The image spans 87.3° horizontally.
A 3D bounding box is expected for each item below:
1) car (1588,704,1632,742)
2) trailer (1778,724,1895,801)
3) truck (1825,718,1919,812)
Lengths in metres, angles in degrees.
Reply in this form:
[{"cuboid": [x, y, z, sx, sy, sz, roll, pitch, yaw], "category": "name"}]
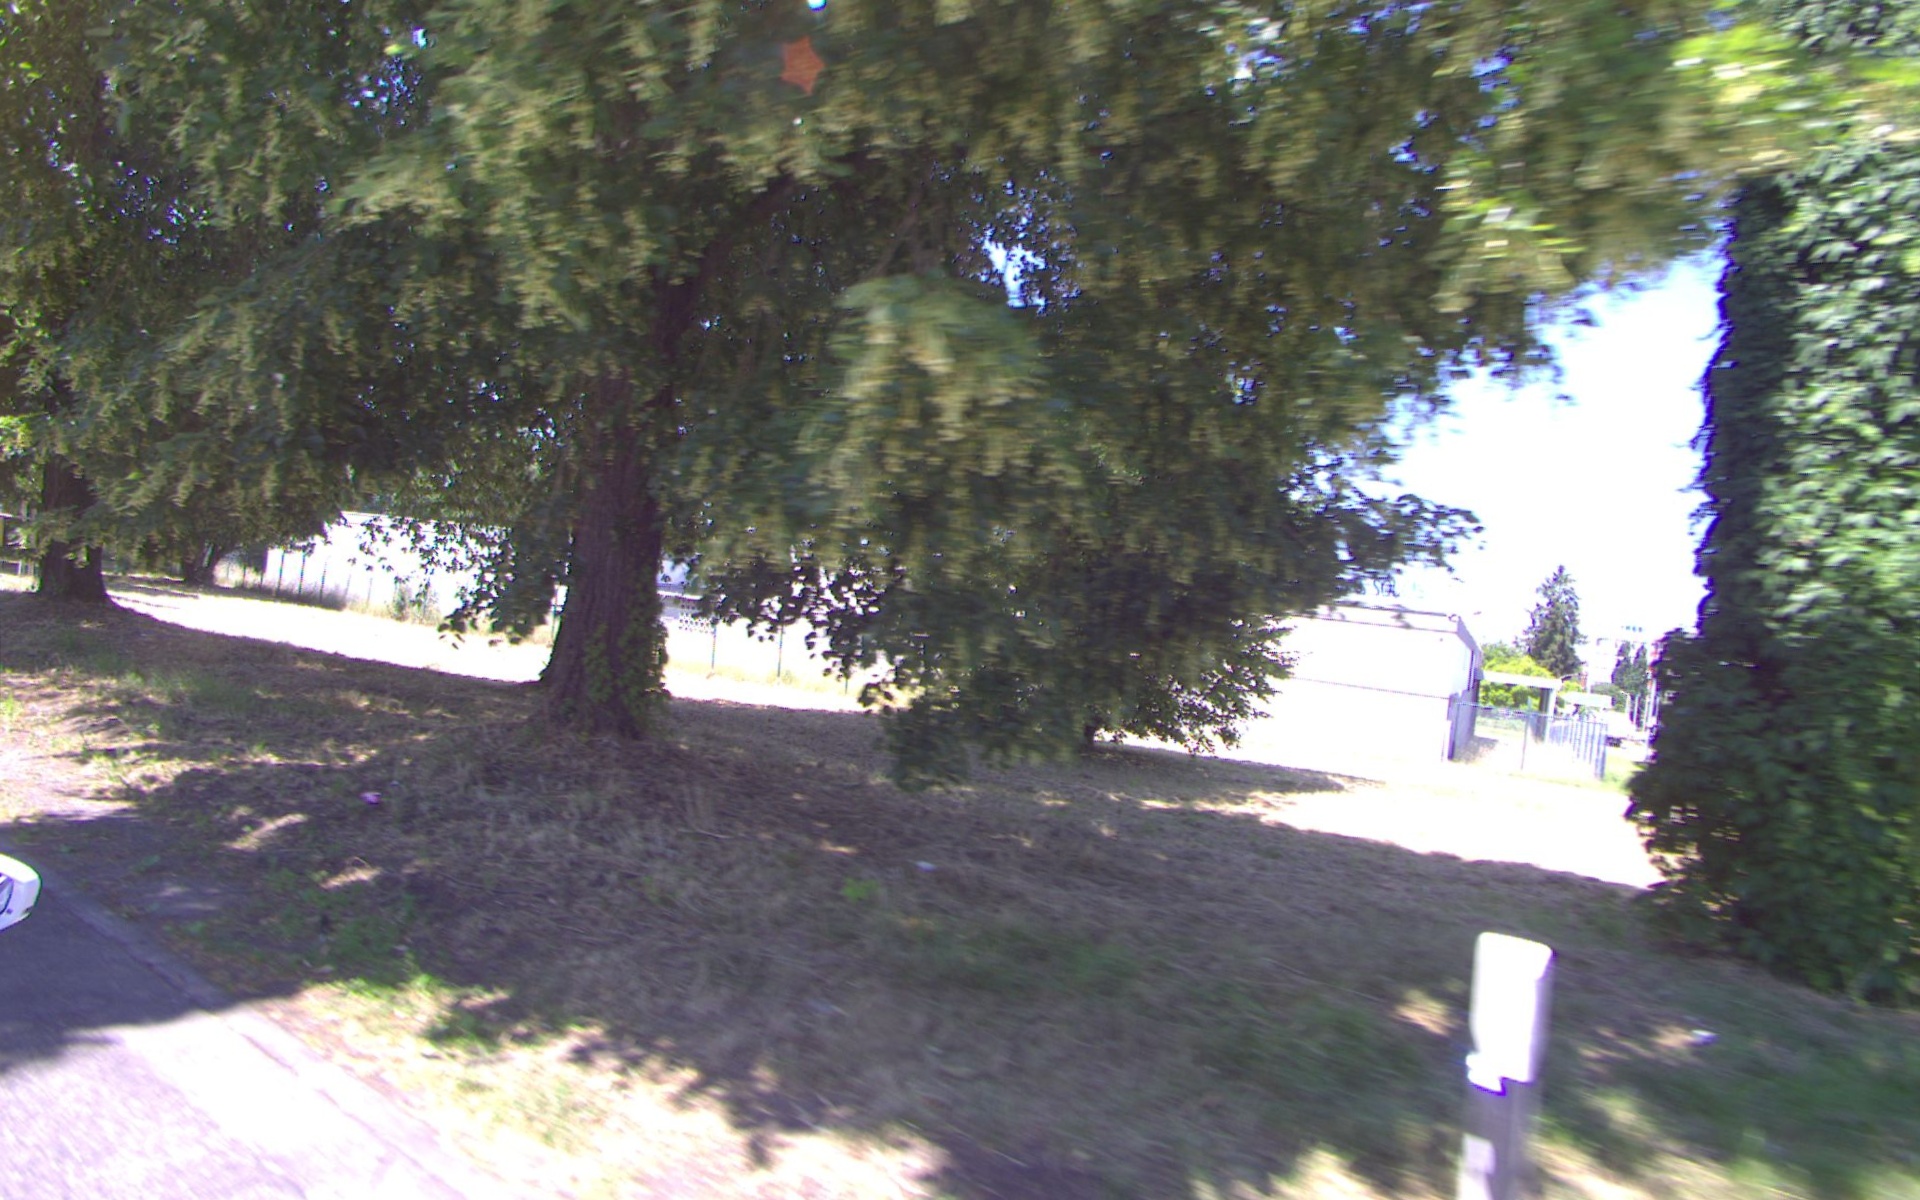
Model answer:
[{"cuboid": [68.361, 12.909, 105.948, 3.260, 3.343, 7.561, 6, -2, 31], "category": "car"}, {"cuboid": [48.035, 8.783, 55.430, 2.430, 3.355, 8.502, 6, -2, 26], "category": "trailer"}, {"cuboid": [43.955, 7.693, 47.176, 2.522, 3.763, 9.476, 7, -2, 27], "category": "truck"}]
